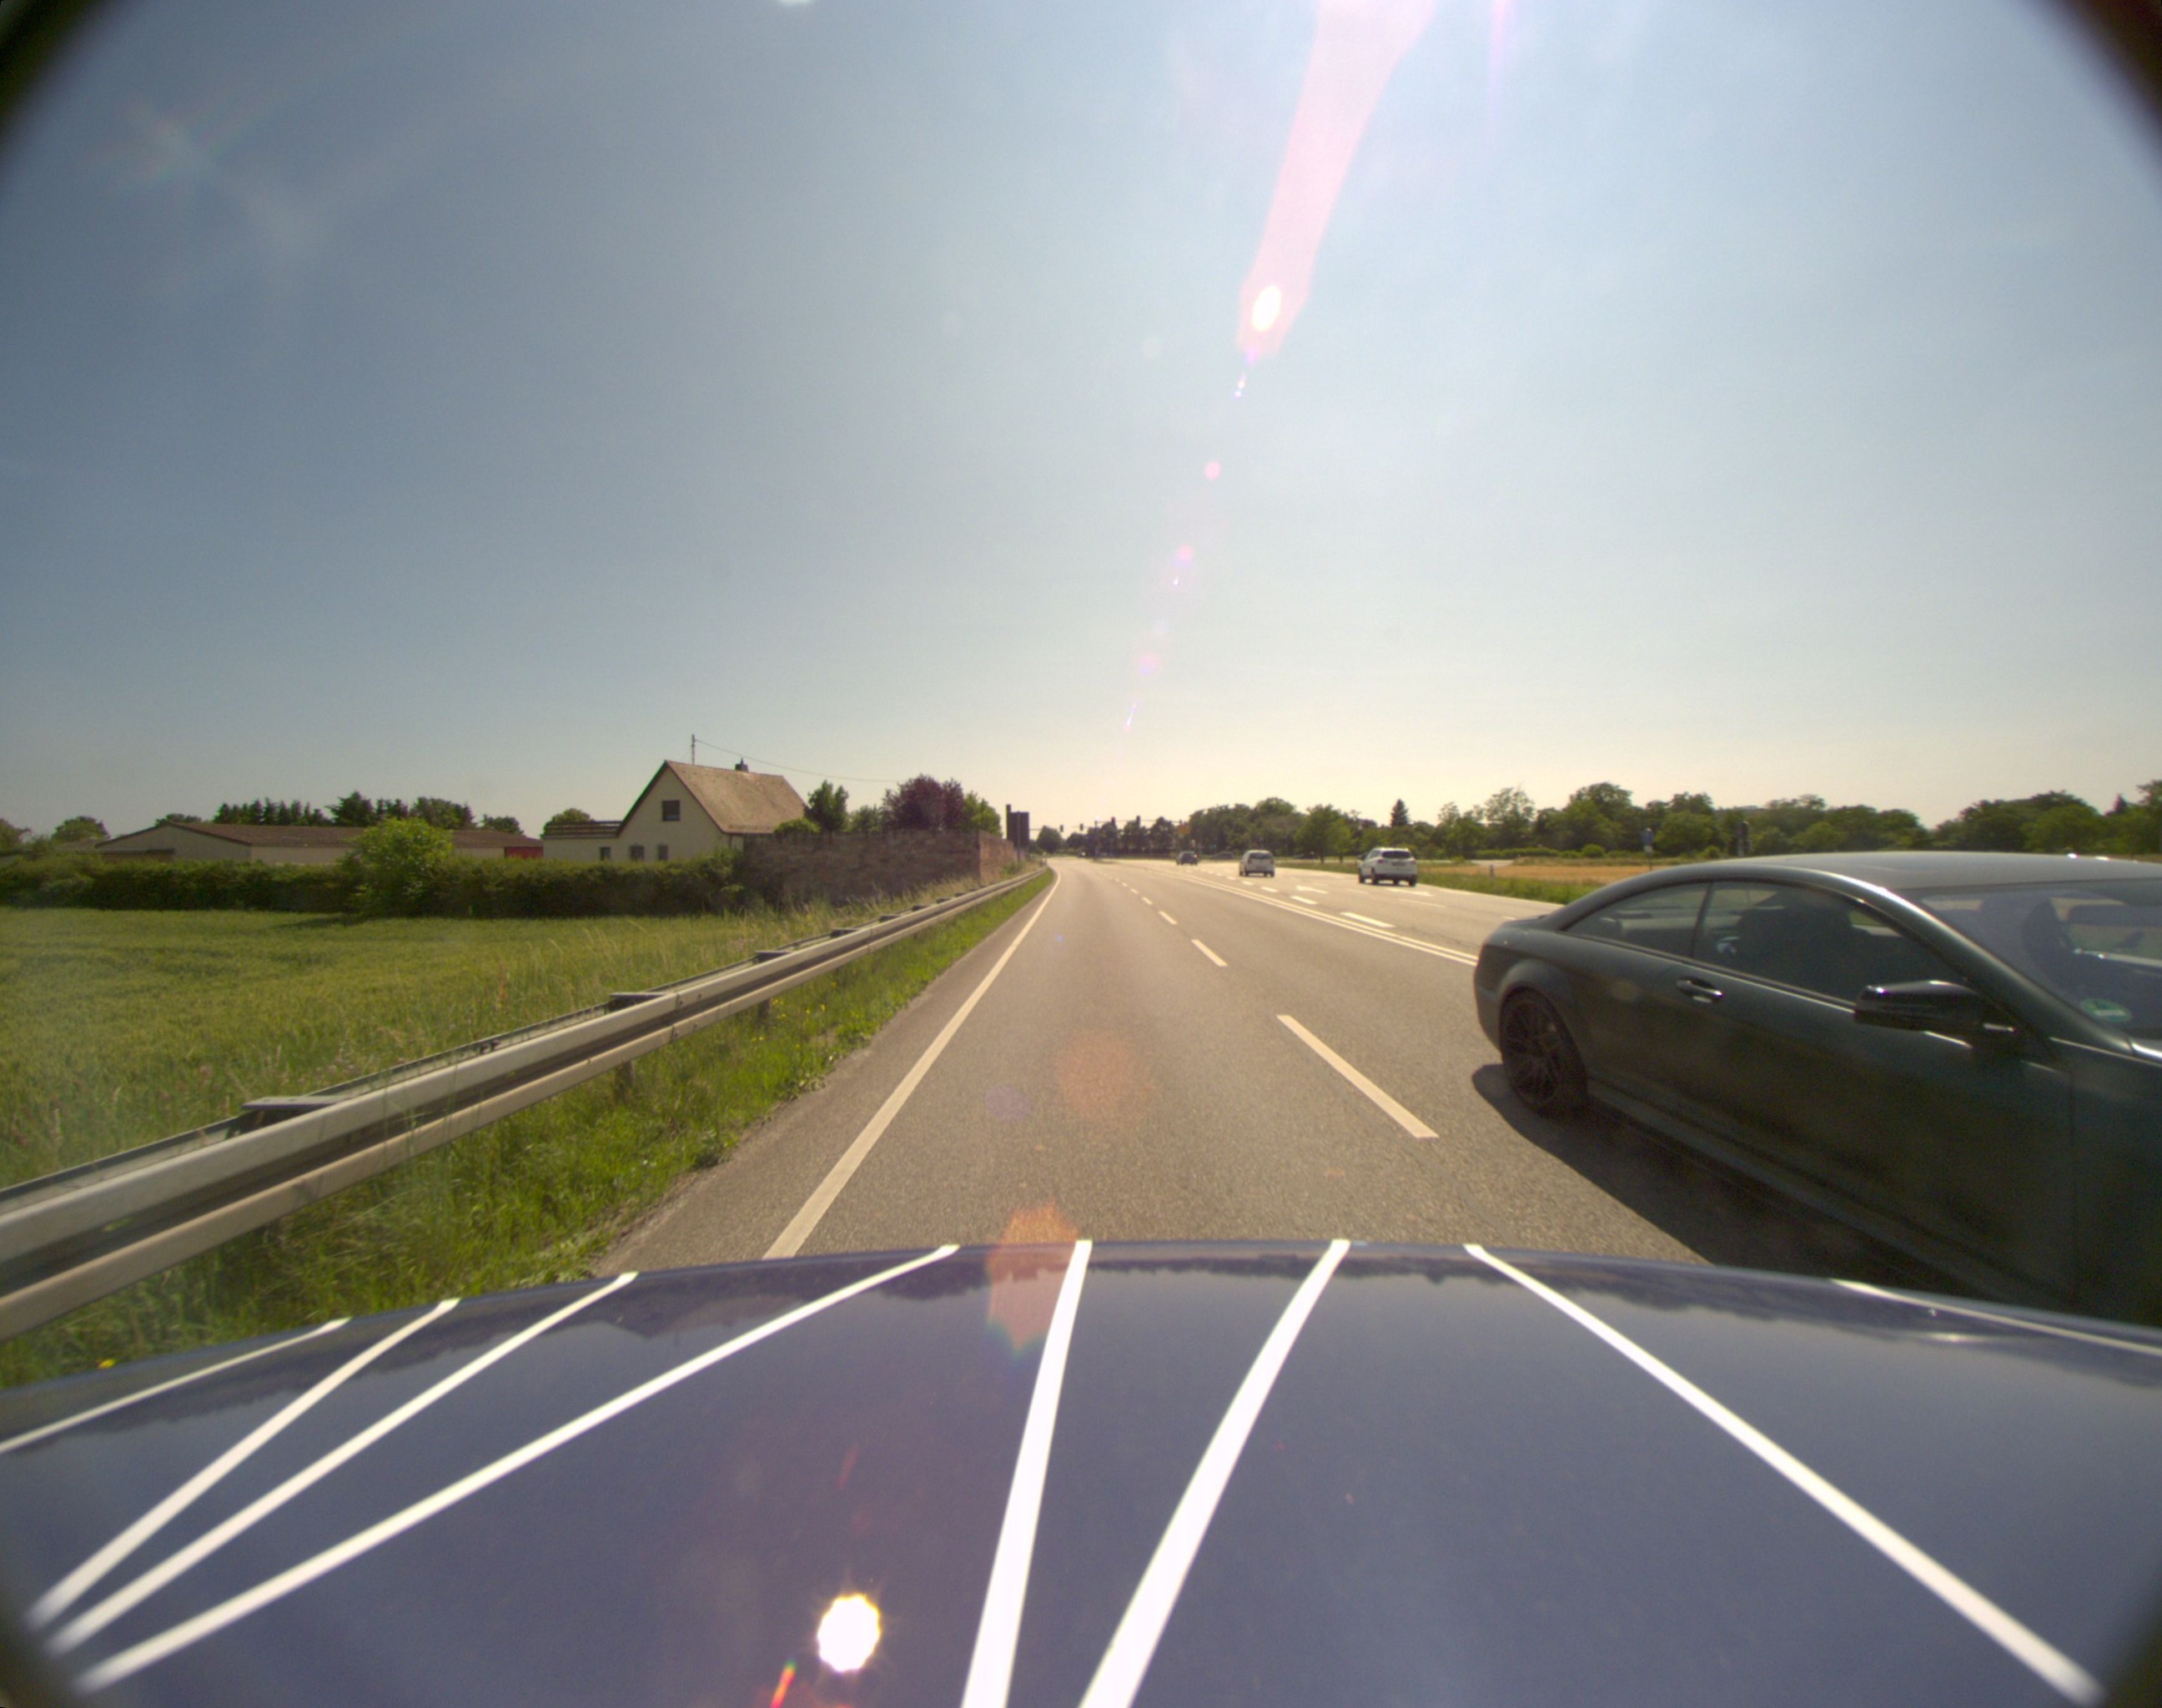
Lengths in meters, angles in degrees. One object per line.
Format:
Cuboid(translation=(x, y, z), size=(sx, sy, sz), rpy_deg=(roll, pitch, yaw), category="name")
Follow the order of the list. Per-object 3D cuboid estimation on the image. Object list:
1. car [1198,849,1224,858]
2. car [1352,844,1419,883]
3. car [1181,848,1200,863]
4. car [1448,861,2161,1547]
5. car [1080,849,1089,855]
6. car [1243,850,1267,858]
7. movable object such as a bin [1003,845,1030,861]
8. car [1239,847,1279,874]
Cuboid(translation=(22.585, -0.083, 131.740), size=(4.361, 1.585, 1.636), rpy_deg=(0, 1, 13), category="car")
Cuboid(translation=(13.955, 0.421, 35.062), size=(1.668, 1.667, 4.464), rpy_deg=(1, 0, 6), category="car")
Cuboid(translation=(11.736, 0.130, 81.719), size=(1.763, 1.449, 4.232), rpy_deg=(1, 1, 5), category="car")
Cuboid(translation=(3.345, 0.815, 2.609), size=(1.815, 1.441, 4.876), rpy_deg=(-2, 0, 1), category="car")
Cuboid(translation=(1.020, -0.460, 205.362), size=(1.836, 1.591, 4.302), rpy_deg=(0, 1, -7), category="car")
Cuboid(translation=(29.740, -0.002, 130.051), size=(3.874, 1.379, 1.636), rpy_deg=(-1, 0, 10), category="car")
Cuboid(translation=(-9.842, -0.116, 115.901), size=(4.107, 2.318, 1.276), rpy_deg=(-2, 1, -7), category="movable object such as a bin")
Cuboid(translation=(10.185, 0.364, 43.755), size=(1.752, 1.433, 4.084), rpy_deg=(1, 0, 7), category="car")
